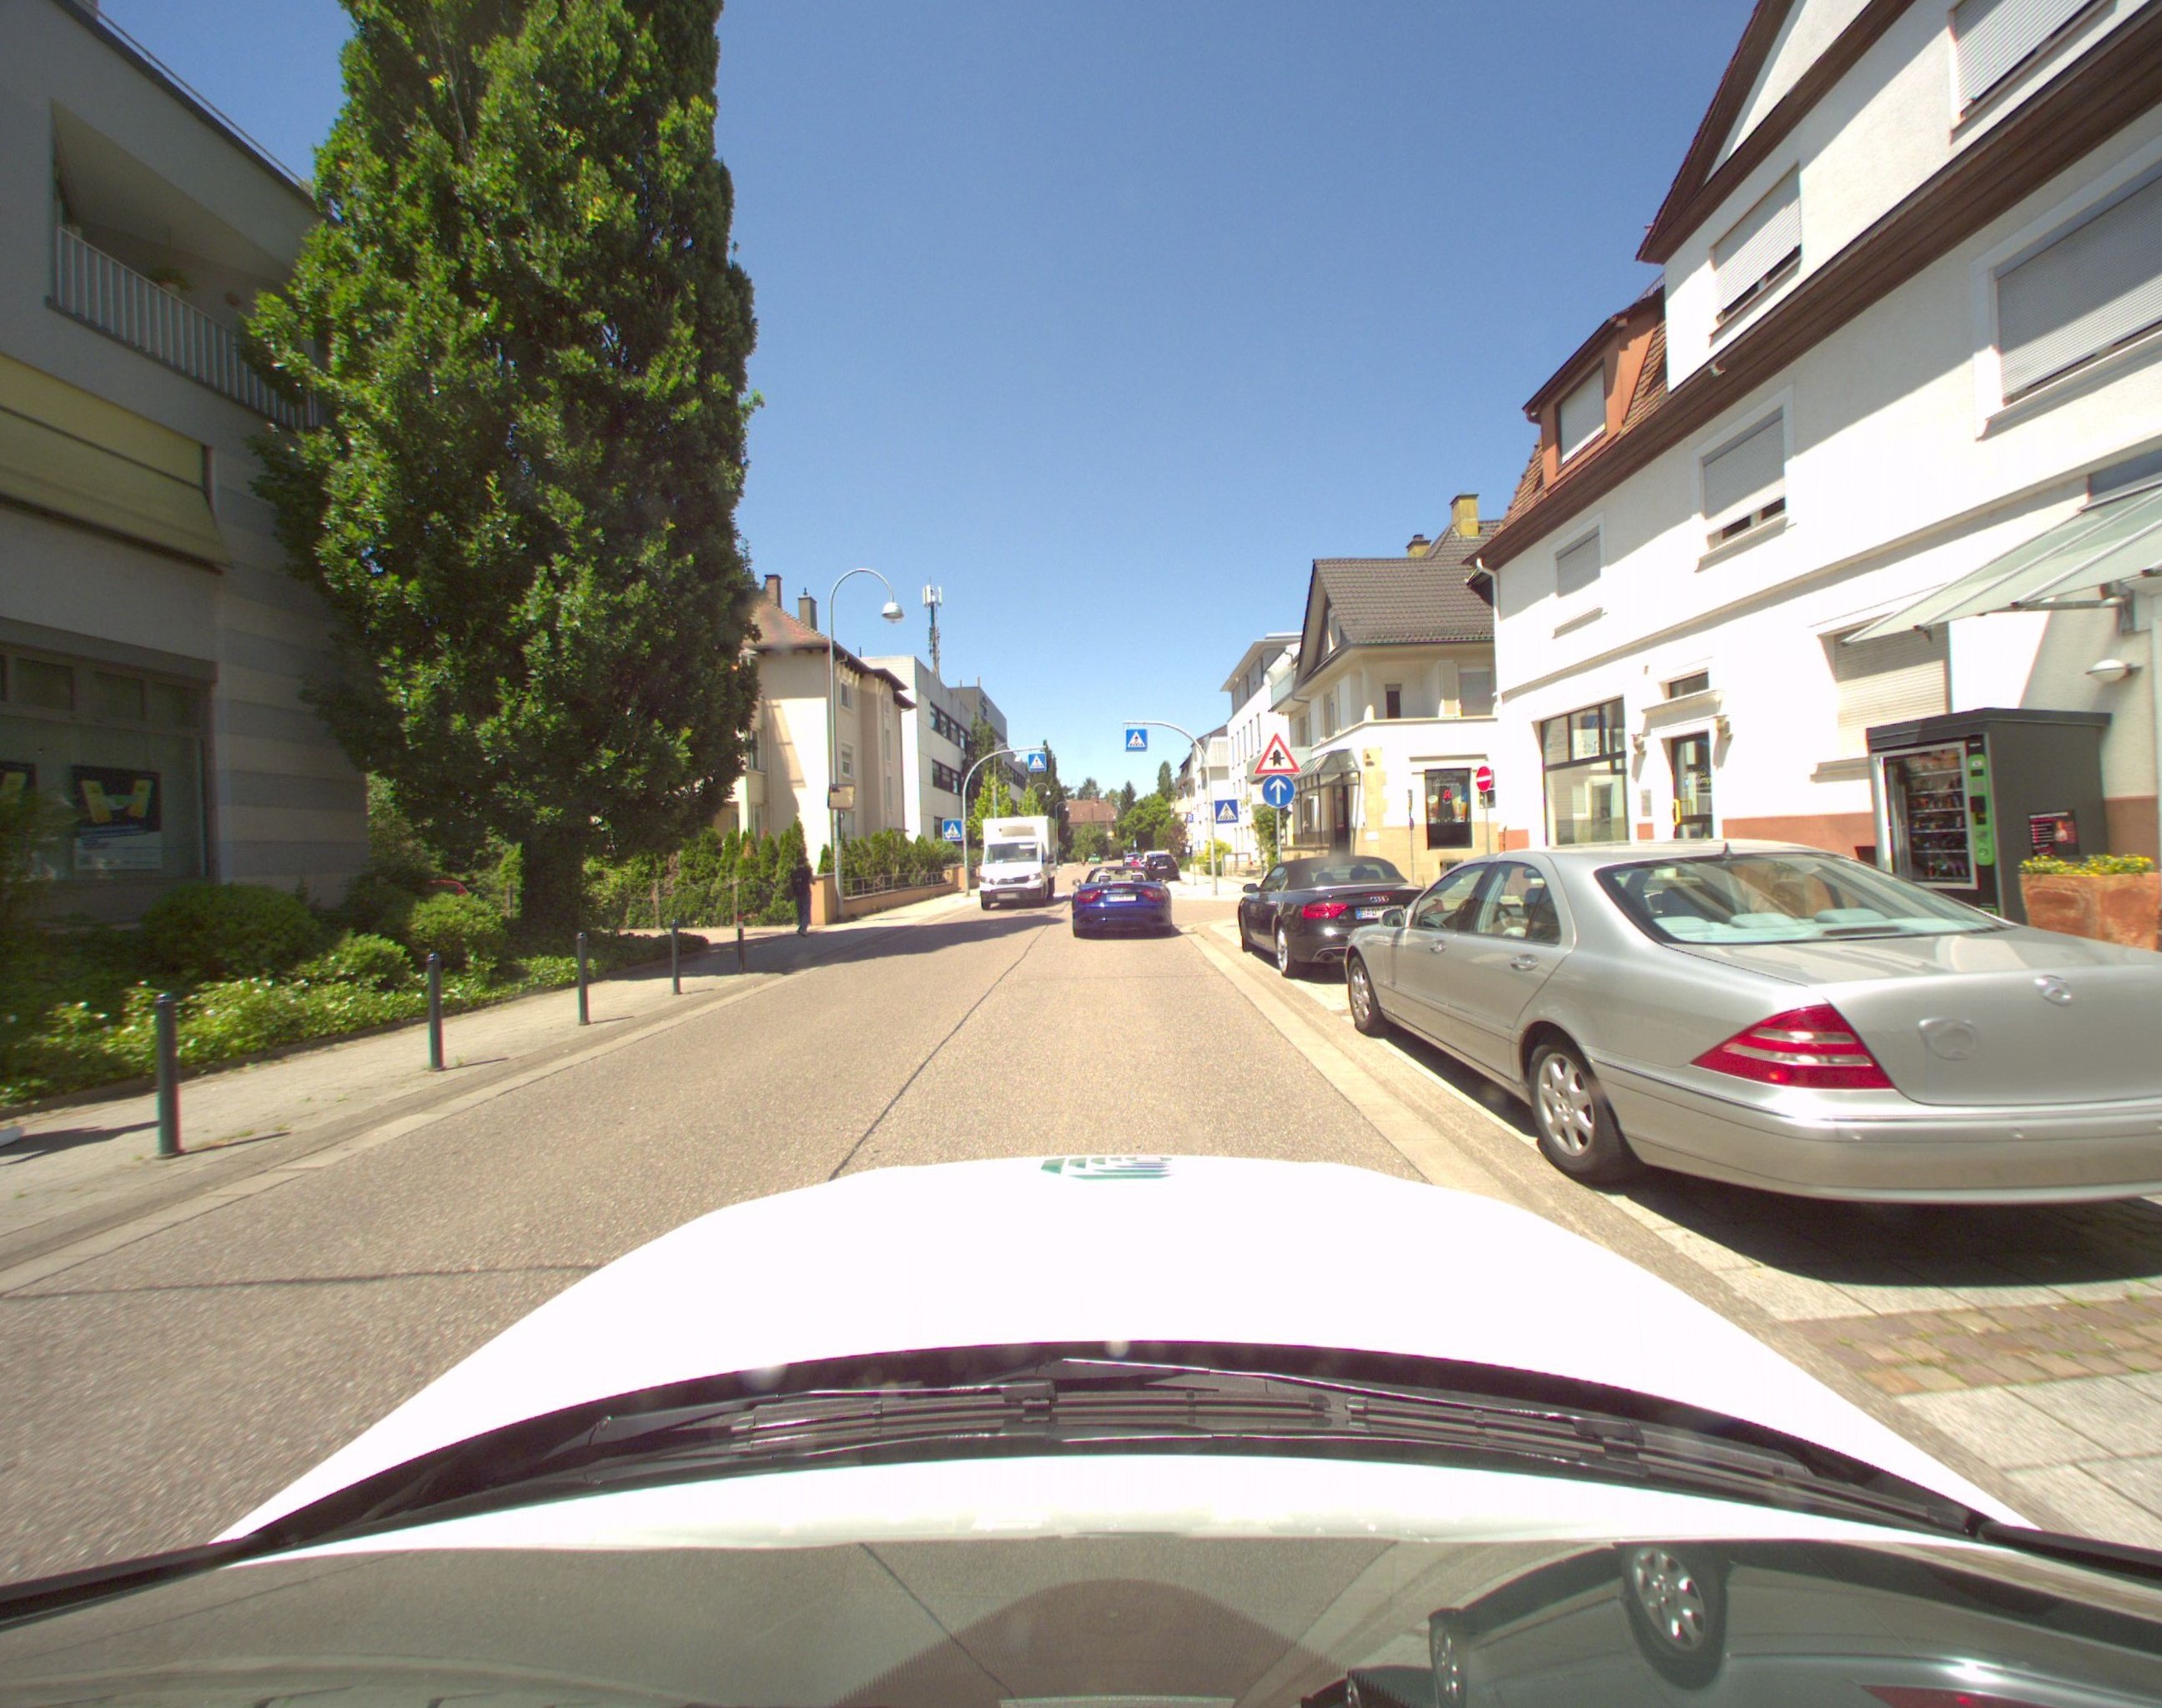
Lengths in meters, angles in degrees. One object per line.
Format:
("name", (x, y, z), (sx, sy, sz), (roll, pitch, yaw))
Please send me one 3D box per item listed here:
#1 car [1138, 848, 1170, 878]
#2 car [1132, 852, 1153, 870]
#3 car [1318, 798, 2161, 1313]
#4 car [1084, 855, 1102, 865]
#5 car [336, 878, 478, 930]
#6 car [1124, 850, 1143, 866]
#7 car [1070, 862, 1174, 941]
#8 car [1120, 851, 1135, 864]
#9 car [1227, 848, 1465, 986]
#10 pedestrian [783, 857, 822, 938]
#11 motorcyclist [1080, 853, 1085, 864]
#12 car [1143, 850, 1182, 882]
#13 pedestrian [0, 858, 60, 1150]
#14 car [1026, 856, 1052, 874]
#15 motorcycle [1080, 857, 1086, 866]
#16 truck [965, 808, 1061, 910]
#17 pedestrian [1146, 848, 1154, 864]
("car", (4.513, 0.528, 50.927), (1.698, 1.666, 4.582), (-3, 0, 2))
("car", (5.428, 0.620, 72.118), (1.597, 1.440, 3.856), (-5, 0, 3))
("car", (2.988, 0.615, 4.923), (1.737, 1.468, 4.854), (-5, 0, 2))
("car", (1.872, 0.898, 128.080), (1.826, 1.588, 4.079), (0, 0, -16))
("car", (-21.940, 1.578, 26.686), (1.705, 1.420, 3.418), (-2, 0, 1))
("car", (5.697, 0.436, 89.103), (1.836, 1.619, 4.430), (-4, 0, 2))
("car", (0.808, 0.879, 16.928), (1.820, 1.337, 4.702), (-1, 0, 2))
("car", (5.913, 0.473, 103.568), (1.625, 1.446, 4.399), (-5, 0, 2))
("car", (3.275, 0.687, 11.123), (1.820, 1.427, 4.702), (-2, 0, 2))
("pedestrian", (-6.012, 0.920, 17.588), (0.534, 1.685, 0.709), (-2, -1, 1))
("motorcyclist", (0.203, 0.666, 113.060), (0.696, 1.433, 0.707), (-4, 0, 2))
("car", (4.405, 0.607, 44.580), (1.698, 1.556, 4.750), (-4, 0, 2))
("pedestrian", (-6.512, 0.872, 4.611), (0.534, 1.685, 0.709), (-2, -1, 1))
("car", (-3.602, 0.929, 70.294), (1.815, 1.512, 4.291), (-2, 0, 2))
("motorcycle", (0.228, 1.024, 113.208), (0.696, 1.107, 1.791), (-4, 0, 2))
("truck", (-2.140, 0.162, 27.800), (2.410, 2.983, 6.260), (-3, 0, 2))
("pedestrian", (7.705, 0.241, 90.547), (0.738, 1.669, 0.706), (-5, 0, 0))
